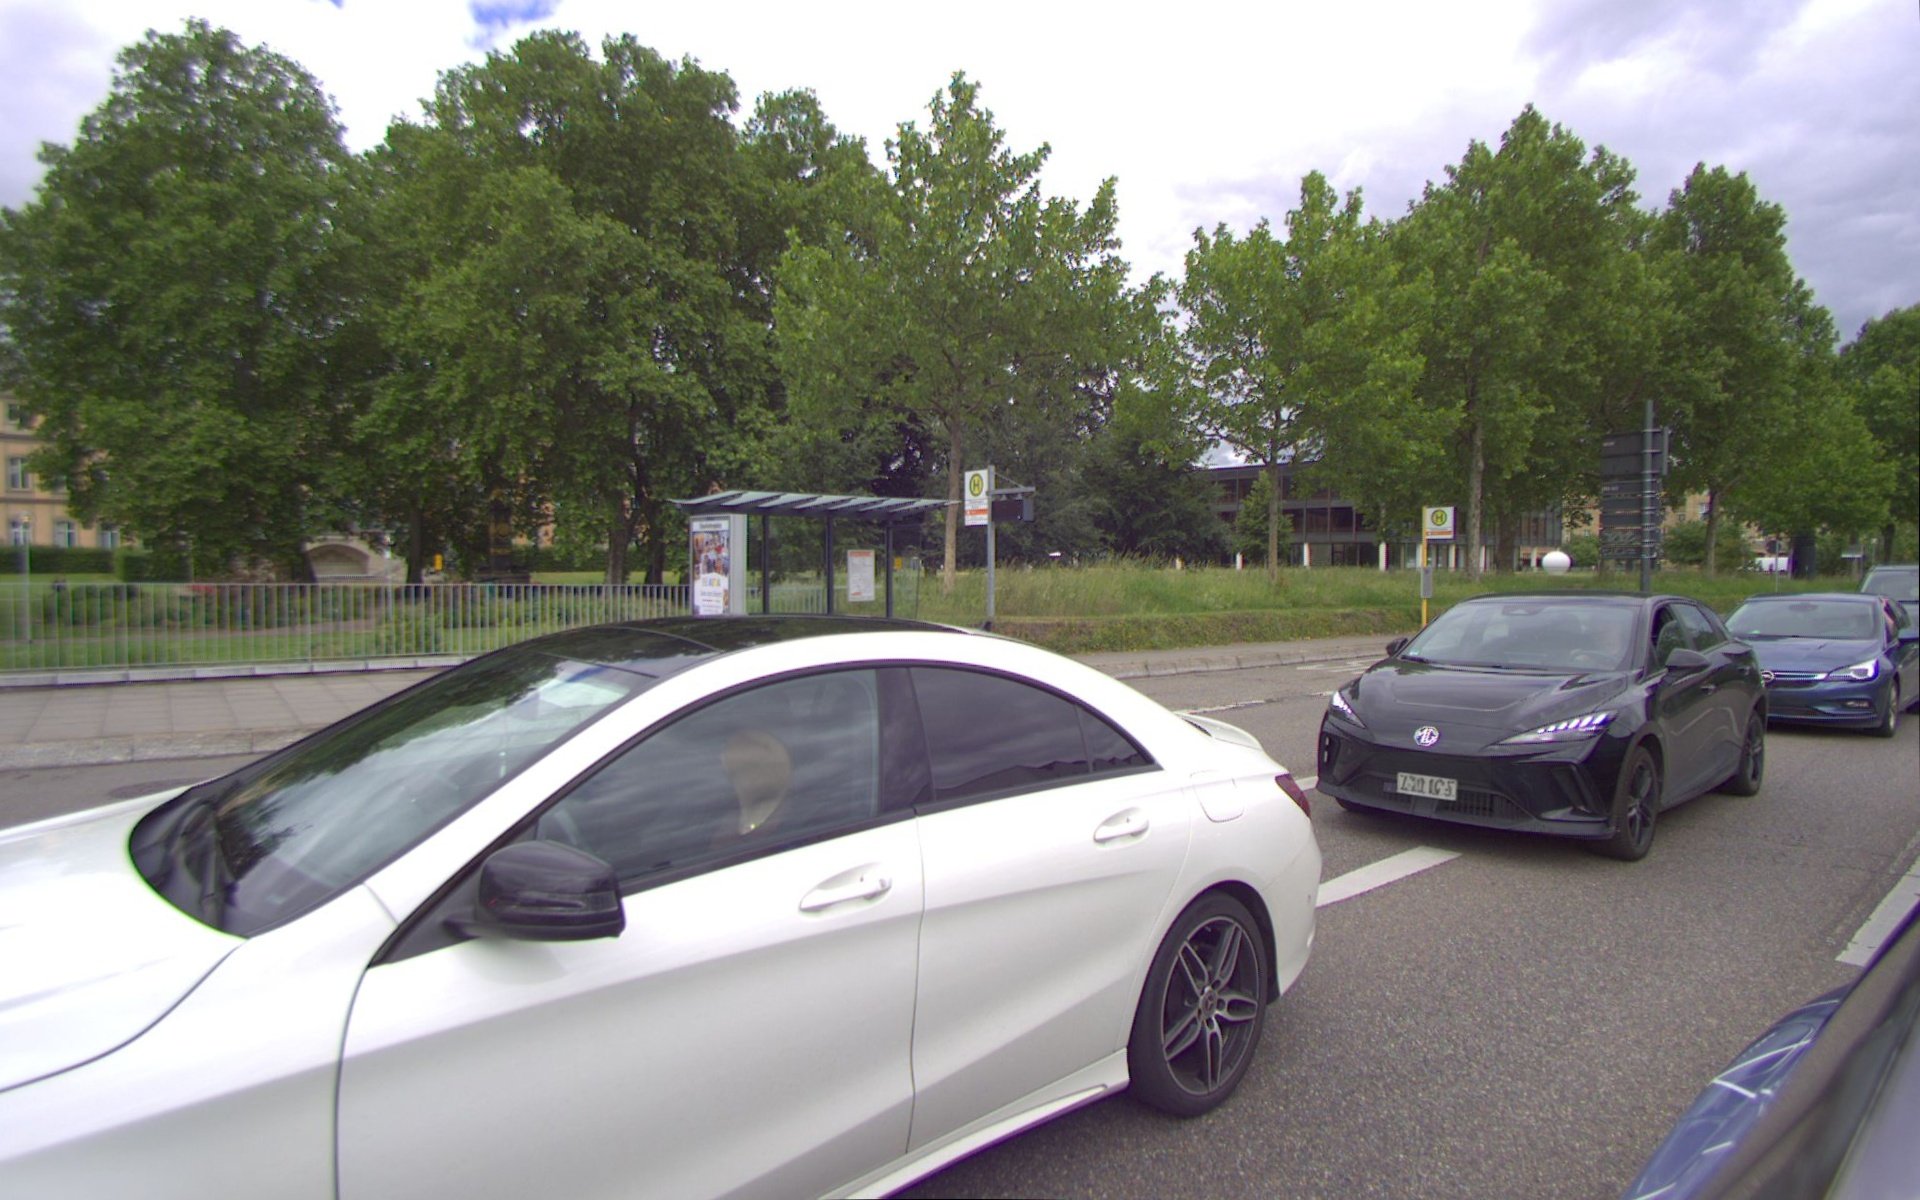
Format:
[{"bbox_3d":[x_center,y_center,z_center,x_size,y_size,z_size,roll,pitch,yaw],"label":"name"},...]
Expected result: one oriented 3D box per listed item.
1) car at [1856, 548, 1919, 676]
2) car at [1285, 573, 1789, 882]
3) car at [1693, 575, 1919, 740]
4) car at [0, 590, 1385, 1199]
[{"bbox_3d":[15.818,0.153,16.145,4.353,1.885,1.722,-1,1,-41],"label":"car"},{"bbox_3d":[4.194,0.624,7.079,4.047,1.543,1.828,0,0,-41],"label":"car"},{"bbox_3d":[9.820,0.508,11.444,3.930,1.556,1.572,-1,1,-40],"label":"car"},{"bbox_3d":[-0.753,0.712,2.730,4.427,1.441,1.722,-1,1,-41],"label":"car"}]
